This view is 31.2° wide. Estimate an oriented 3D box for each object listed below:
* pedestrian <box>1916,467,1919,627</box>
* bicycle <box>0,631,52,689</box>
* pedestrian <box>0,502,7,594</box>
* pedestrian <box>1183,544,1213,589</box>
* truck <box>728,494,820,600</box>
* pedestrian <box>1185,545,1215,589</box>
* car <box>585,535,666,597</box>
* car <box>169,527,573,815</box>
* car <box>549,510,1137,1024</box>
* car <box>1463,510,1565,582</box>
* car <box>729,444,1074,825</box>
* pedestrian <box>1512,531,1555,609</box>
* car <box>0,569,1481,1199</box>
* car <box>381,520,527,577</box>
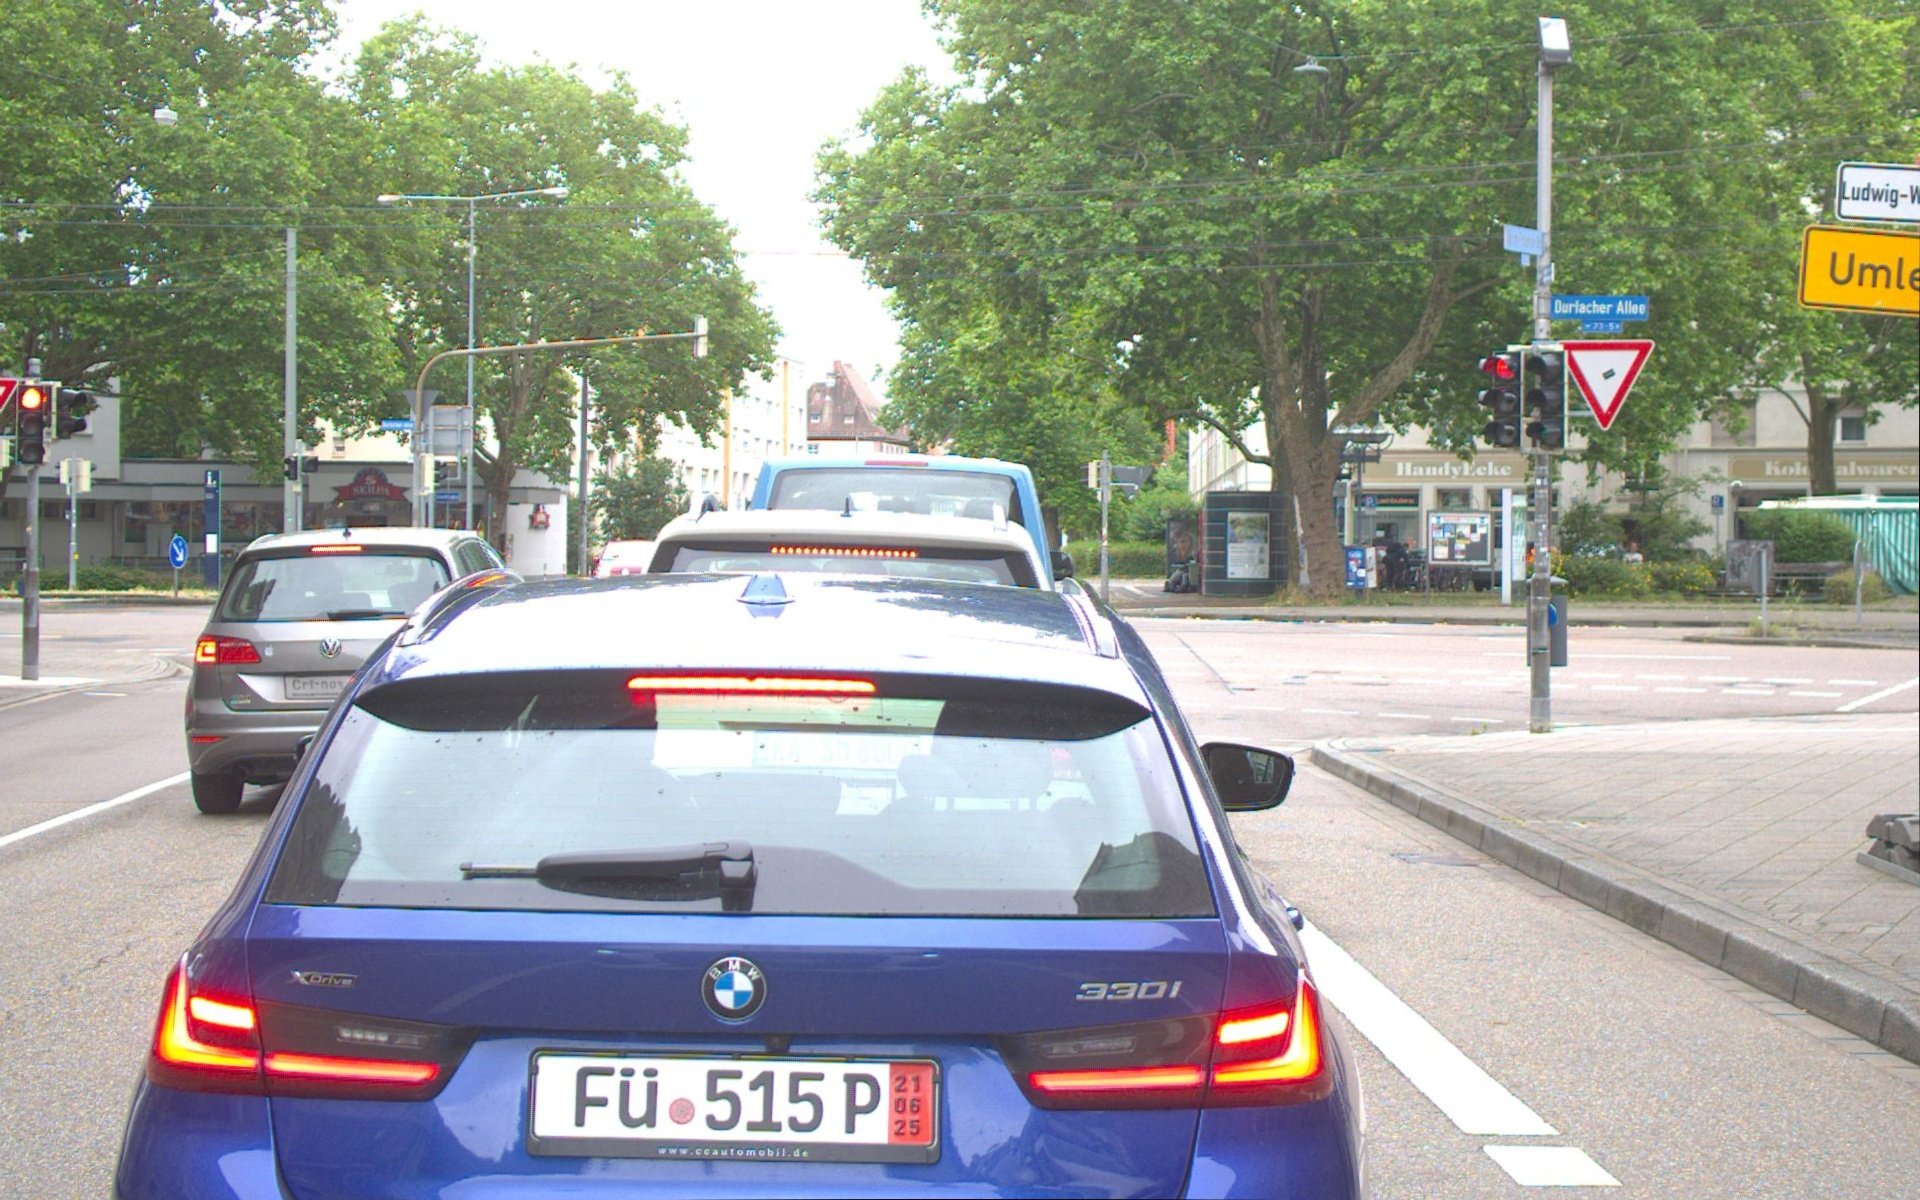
[{"bbox_3d":[3.847,0.354,12.045,0.674,1.680,0.969,-2,1,-1],"label":"pedestrian"},{"bbox_3d":[-9.911,0.511,33.407,1.886,0.443,1.029,6,2,-2],"label":"bicycle"},{"bbox_3d":[-18.734,-1.000,66.007,0.675,1.765,0.726,0,1,-1],"label":"pedestrian"},{"bbox_3d":[7.188,-1.020,103.901,0.817,1.367,0.763,0,1,0],"label":"pedestrian"},{"bbox_3d":[-4.339,-1.273,80.828,2.074,2.400,5.463,0,1,-2],"label":"truck"},{"bbox_3d":[7.187,-0.978,103.042,0.853,1.310,0.763,0,1,0],"label":"pedestrian"},{"bbox_3d":[-8.066,-0.837,83.153,1.649,1.442,3.511,0,1,-1],"label":"car"},{"bbox_3d":[-3.342,0.336,20.192,1.732,1.519,4.000,0,1,-1],"label":"car"},{"bbox_3d":[-0.385,0.475,12.635,1.815,1.586,4.000,0,1,-1],"label":"car"},{"bbox_3d":[17.321,-1.694,107.402,2.177,2.193,3.995,1,1,24],"label":"car"},{"bbox_3d":[-0.331,0.140,20.103,1.815,1.998,4.000,0,1,-1],"label":"car"},{"bbox_3d":[12.909,-0.670,77.433,0.784,1.737,0.925,0,1,-2],"label":"pedestrian"},{"bbox_3d":[-0.305,0.672,6.311,1.815,1.400,4.320,0,1,-1],"label":"car"},{"bbox_3d":[-15.699,-1.582,106.666,3.987,1.700,2.000,0,1,-34],"label":"car"}]
